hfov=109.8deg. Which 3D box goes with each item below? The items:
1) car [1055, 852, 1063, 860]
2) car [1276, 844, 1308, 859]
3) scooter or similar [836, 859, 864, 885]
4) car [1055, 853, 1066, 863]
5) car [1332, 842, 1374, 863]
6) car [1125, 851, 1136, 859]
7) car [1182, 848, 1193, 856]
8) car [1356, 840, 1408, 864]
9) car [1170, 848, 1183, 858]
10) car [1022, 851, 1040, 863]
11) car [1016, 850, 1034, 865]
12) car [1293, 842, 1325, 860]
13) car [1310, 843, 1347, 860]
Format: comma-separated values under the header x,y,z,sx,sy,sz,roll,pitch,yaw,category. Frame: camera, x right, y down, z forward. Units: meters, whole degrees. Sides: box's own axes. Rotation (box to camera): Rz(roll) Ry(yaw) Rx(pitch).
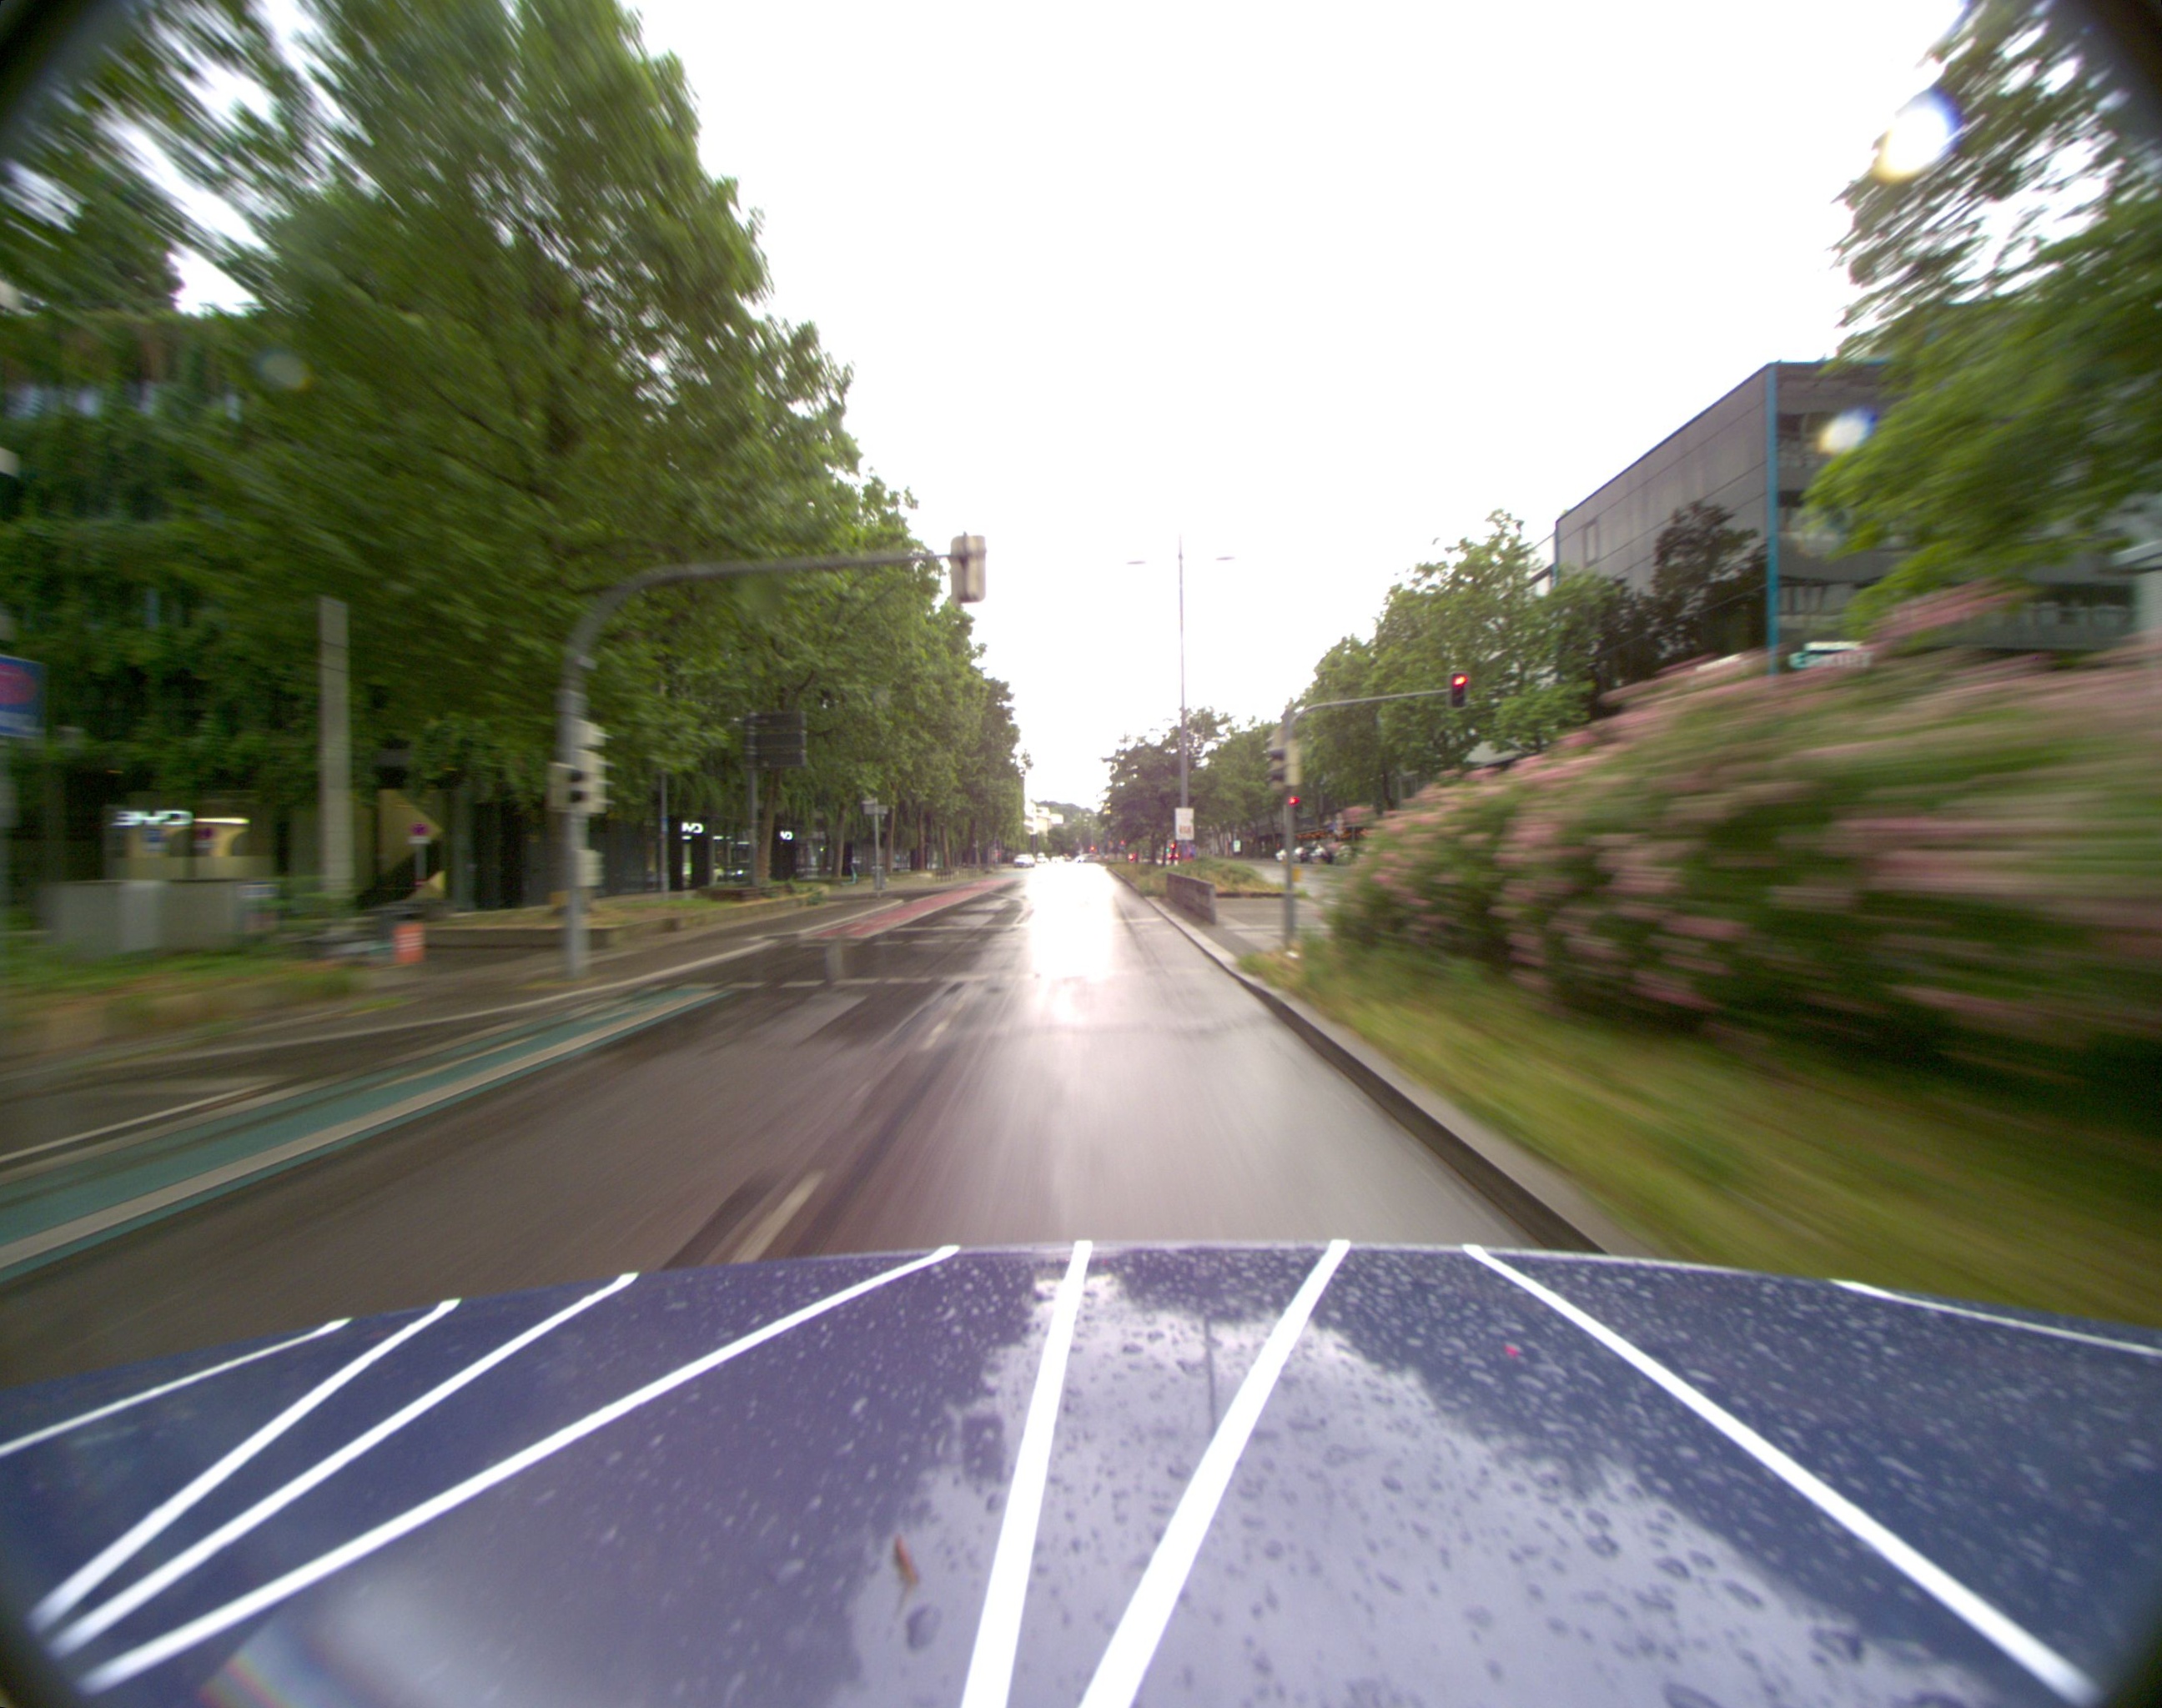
x,y,z,sx,sy,sz,roll,pitch,yaw,category
-4.579,0.416,156.478,1.557,1.534,3.662,-3,1,0,car
20.426,-0.275,73.565,1.881,1.318,4.391,-3,1,1,car
-11.787,0.917,38.834,1.187,1.275,0.535,-4,2,-40,scooter or similar
-3.493,0.703,131.798,1.780,1.546,3.929,-3,1,0,car
19.993,-0.147,55.918,1.875,1.414,3.400,-3,1,1,car
9.720,0.185,148.736,1.678,1.381,3.527,-3,1,-3,car
20.815,-0.364,148.605,1.765,1.318,3.737,-3,1,1,car
19.996,-0.171,50.663,1.875,1.377,4.537,-3,1,4,car
18.104,-0.195,144.085,1.781,1.565,3.728,-3,1,-1,car
-7.024,0.393,106.812,2.036,1.553,4.584,-3,1,1,car
-7.373,0.467,100.597,1.932,1.726,4.597,-3,1,-1,car
20.461,-0.293,68.291,1.750,1.445,3.788,-3,1,1,car
20.122,-0.227,61.989,1.647,1.232,4.318,-3,1,2,car
